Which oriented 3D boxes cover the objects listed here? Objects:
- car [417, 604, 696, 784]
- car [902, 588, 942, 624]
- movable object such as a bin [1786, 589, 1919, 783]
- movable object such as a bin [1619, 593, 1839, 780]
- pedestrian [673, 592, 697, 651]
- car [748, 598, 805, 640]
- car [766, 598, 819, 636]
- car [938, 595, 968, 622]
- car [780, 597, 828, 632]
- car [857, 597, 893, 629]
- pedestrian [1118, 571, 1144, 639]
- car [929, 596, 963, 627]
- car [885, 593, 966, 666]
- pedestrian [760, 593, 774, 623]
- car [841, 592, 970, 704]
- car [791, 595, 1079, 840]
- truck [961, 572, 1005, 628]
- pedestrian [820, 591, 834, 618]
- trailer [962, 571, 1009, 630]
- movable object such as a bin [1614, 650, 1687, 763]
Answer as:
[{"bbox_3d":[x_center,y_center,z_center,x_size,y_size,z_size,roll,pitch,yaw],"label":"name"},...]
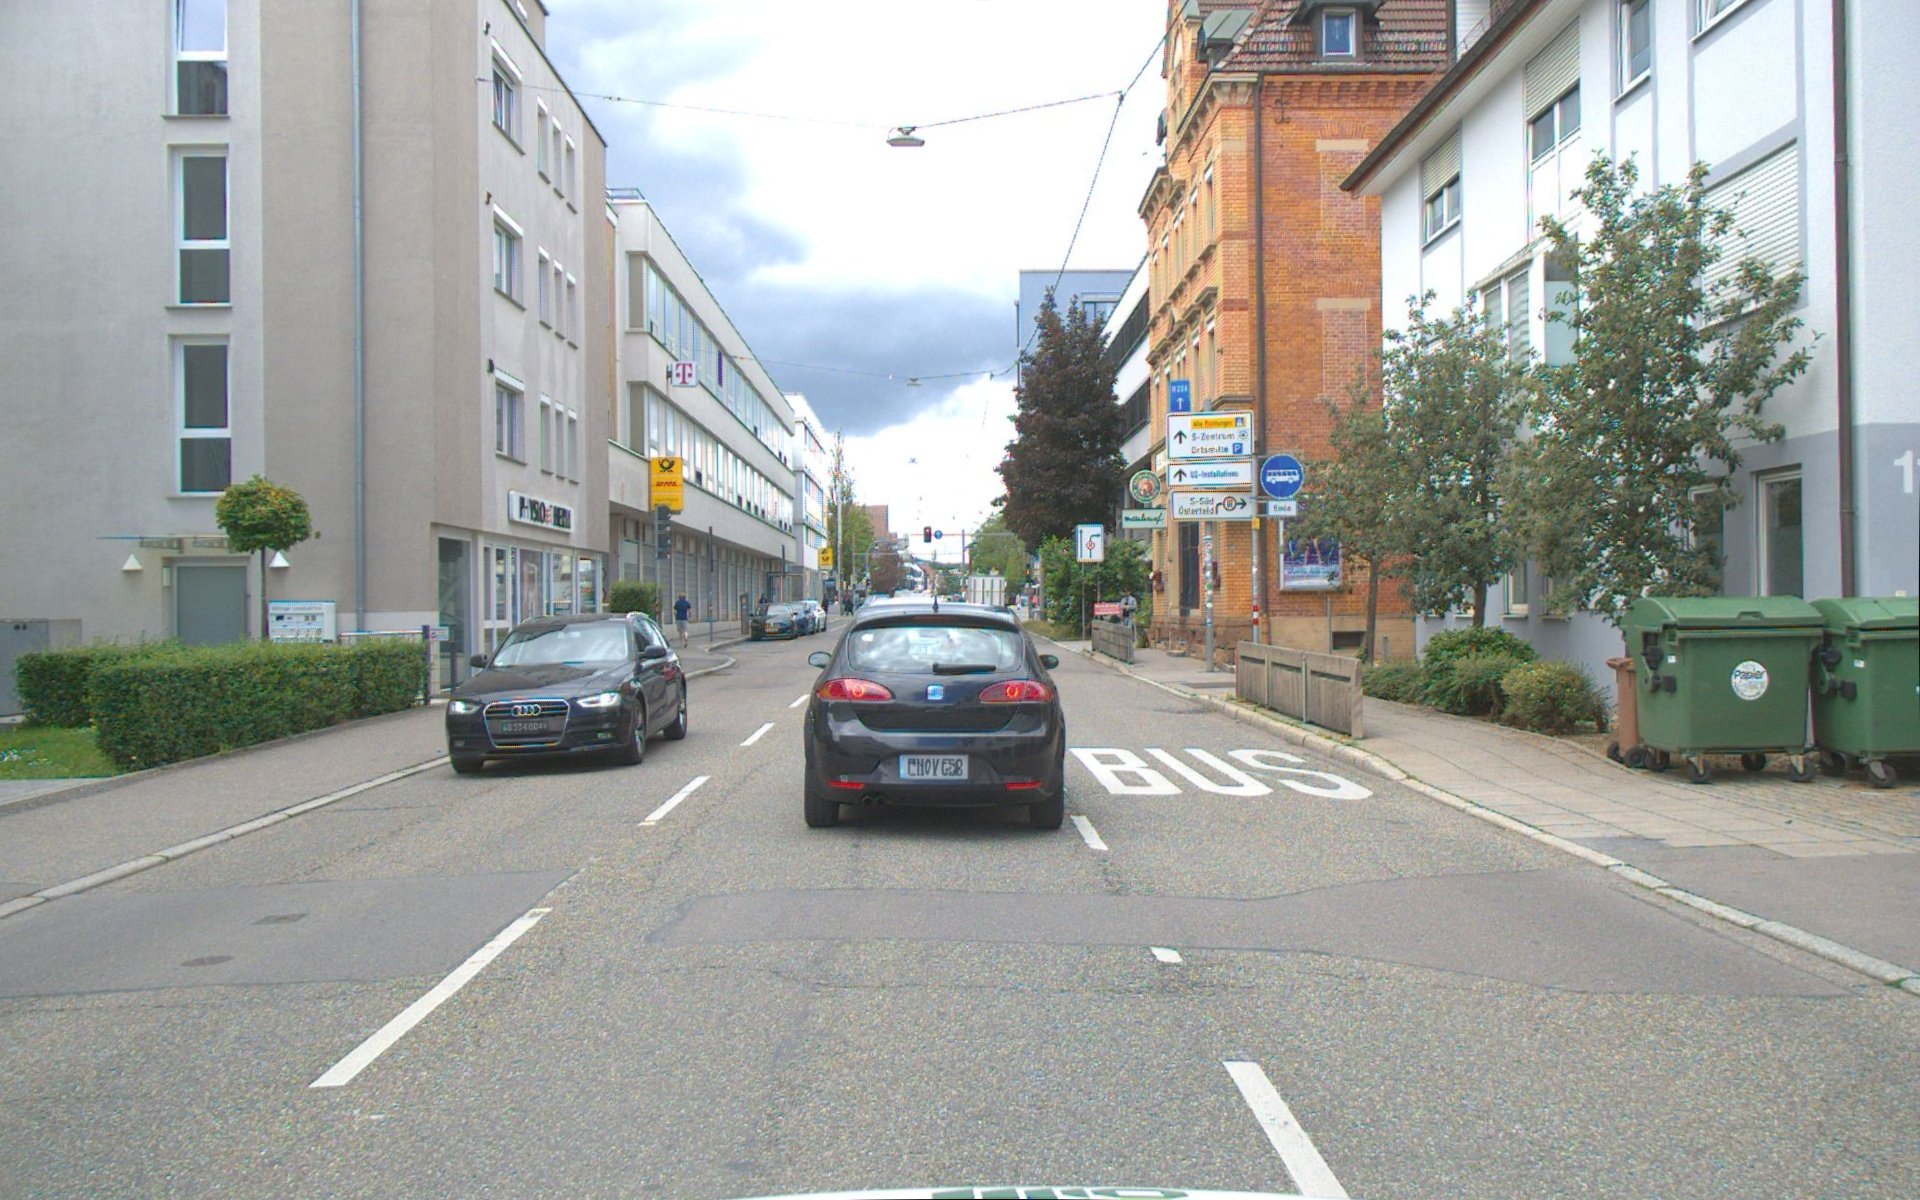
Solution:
[{"bbox_3d":[-3.962,0.848,16.978,1.841,1.476,4.213,-3,0,-1],"label":"car"},{"bbox_3d":[-1.761,0.272,76.056,1.767,1.629,3.736,0,0,-2],"label":"car"},{"bbox_3d":[7.563,0.647,13.237,1.241,1.460,1.307,-1,0,-1],"label":"movable object such as a bin"},{"bbox_3d":[6.233,0.670,13.492,1.241,1.442,1.162,-1,0,-1],"label":"movable object such as a bin"},{"bbox_3d":[-8.592,0.664,51.686,0.630,1.800,0.809,-1,0,-3],"label":"pedestrian"},{"bbox_3d":[-7.270,0.722,65.898,1.874,1.543,4.173,-2,0,-2],"label":"car"},{"bbox_3d":[-7.209,0.700,71.583,1.953,1.543,4.173,-1,0,-2],"label":"car"},{"bbox_3d":[-0.429,0.502,102.574,1.767,1.629,3.736,0,0,-2],"label":"car"},{"bbox_3d":[-7.262,0.671,77.288,1.953,1.543,4.173,-1,0,-2],"label":"car"},{"bbox_3d":[-4.925,0.745,96.648,1.953,1.769,4.552,-2,0,-2],"label":"car"},{"bbox_3d":[5.240,0.153,50.673,0.679,2.049,0.676,-1,0,-2],"label":"pedestrian"},{"bbox_3d":[-0.768,0.608,89.962,1.767,1.629,3.736,0,0,-2],"label":"car"},{"bbox_3d":[-0.812,0.655,38.330,1.767,1.580,3.736,-1,0,-2],"label":"car"},{"bbox_3d":[-10.634,0.453,91.019,0.642,1.651,0.681,-1,0,0],"label":"pedestrian"},{"bbox_3d":[-0.801,0.660,24.790,1.767,1.519,3.736,-1,0,-2],"label":"car"},{"bbox_3d":[-0.175,0.709,11.967,1.730,1.458,3.828,-1,0,-1],"label":"car"},{"bbox_3d":[1.090,0.009,80.334,1.953,2.653,3.259,-1,0,-2],"label":"truck"},{"bbox_3d":[-9.230,0.315,115.169,0.899,1.901,0.783,-1,0,-2],"label":"pedestrian"},{"bbox_3d":[1.147,0.025,77.562,1.953,2.653,5.347,-1,0,-1],"label":"trailer"},{"bbox_3d":[5.965,0.912,14.301,0.421,0.937,0.465,-1,0,-1],"label":"movable object such as a bin"}]
